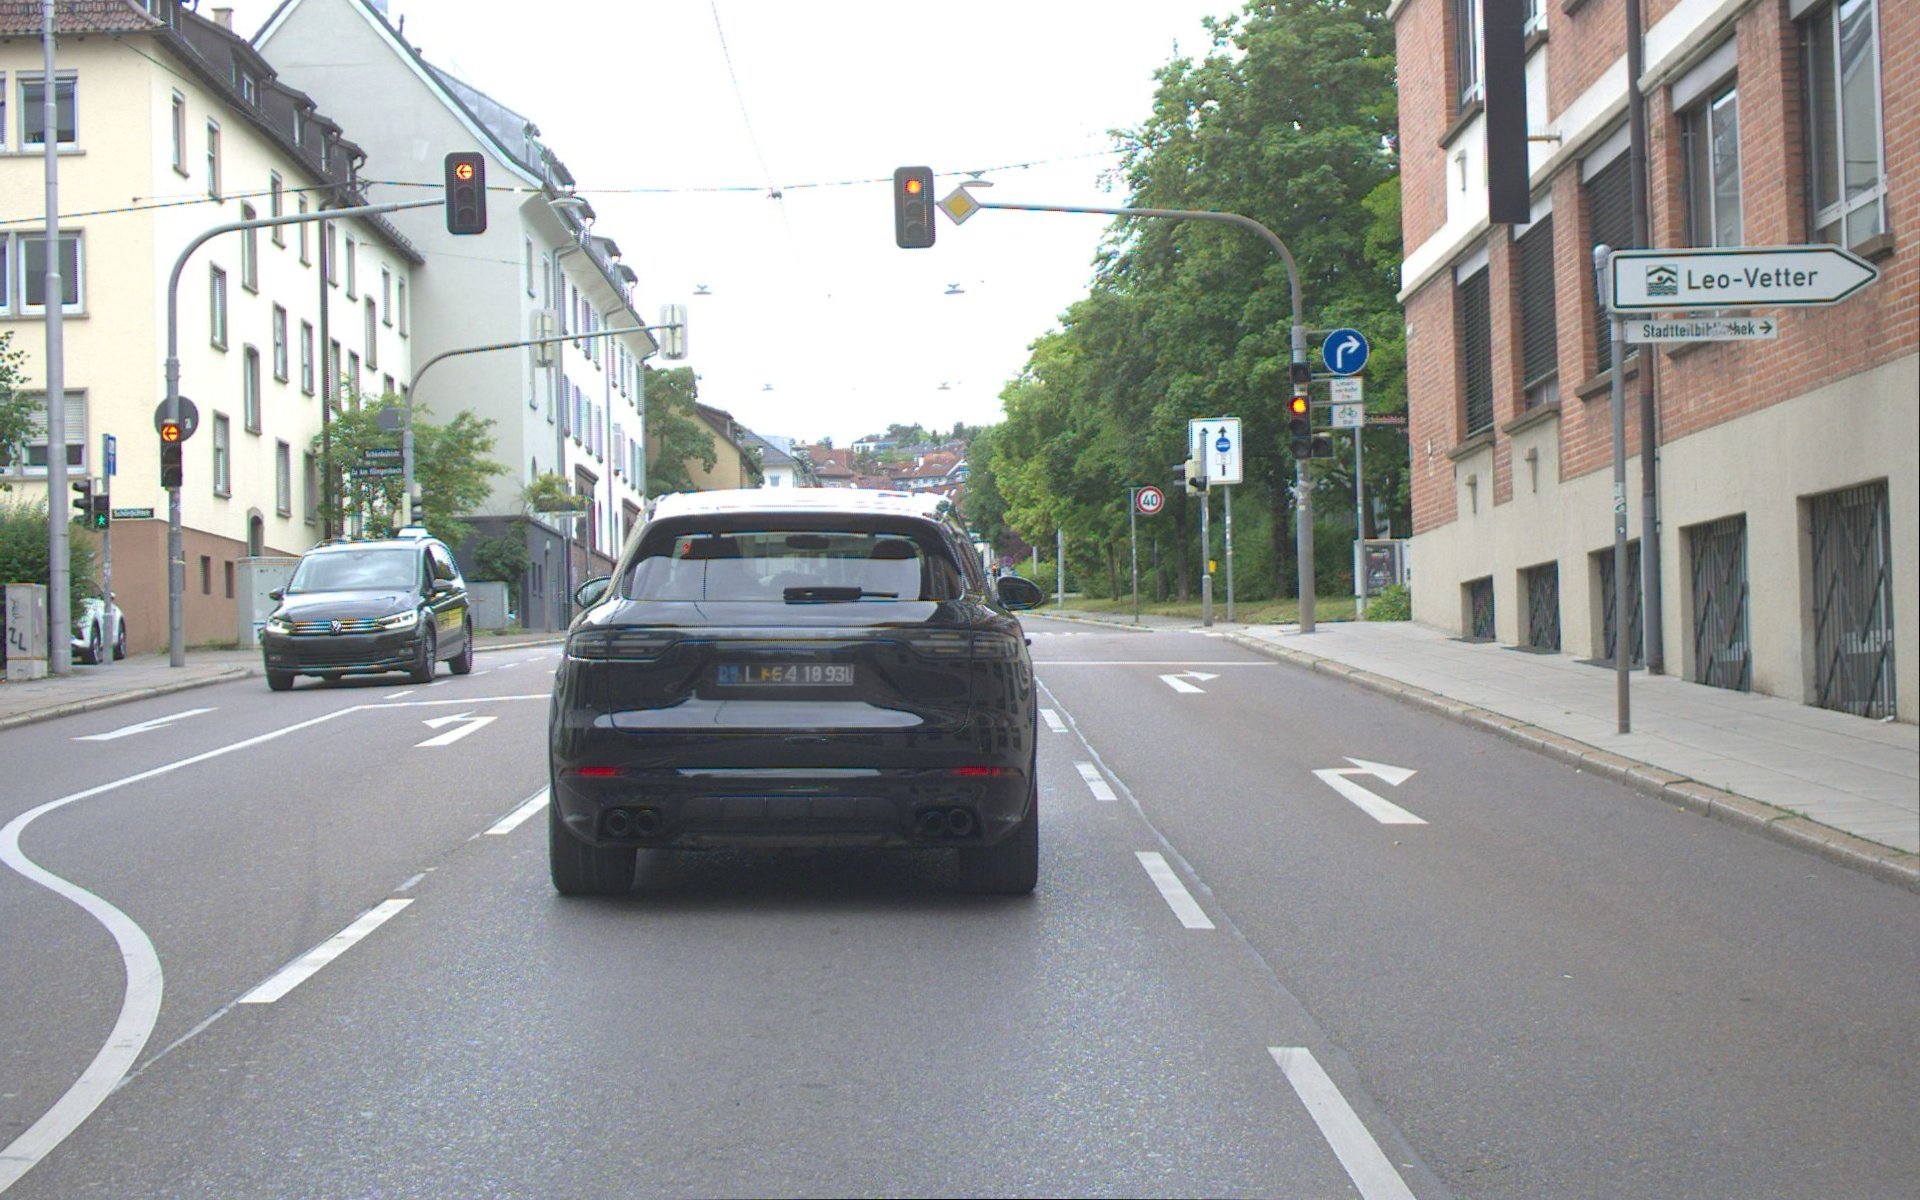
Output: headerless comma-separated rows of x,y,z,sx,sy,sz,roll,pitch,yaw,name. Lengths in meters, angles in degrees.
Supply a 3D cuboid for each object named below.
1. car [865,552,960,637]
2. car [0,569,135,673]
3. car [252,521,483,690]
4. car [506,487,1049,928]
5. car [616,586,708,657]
-0.914,-0.134,68.287,1.827,1.599,4.135,0,1,0,car
-15.163,0.327,58.076,1.690,1.550,3.767,-4,1,-4,car
-6.648,0.021,39.002,1.784,1.701,4.307,-4,1,0,car
-0.690,0.360,15.109,2.048,1.660,4.267,0,1,0,car
-6.735,0.476,77.986,1.673,1.395,3.794,-4,1,0,car
